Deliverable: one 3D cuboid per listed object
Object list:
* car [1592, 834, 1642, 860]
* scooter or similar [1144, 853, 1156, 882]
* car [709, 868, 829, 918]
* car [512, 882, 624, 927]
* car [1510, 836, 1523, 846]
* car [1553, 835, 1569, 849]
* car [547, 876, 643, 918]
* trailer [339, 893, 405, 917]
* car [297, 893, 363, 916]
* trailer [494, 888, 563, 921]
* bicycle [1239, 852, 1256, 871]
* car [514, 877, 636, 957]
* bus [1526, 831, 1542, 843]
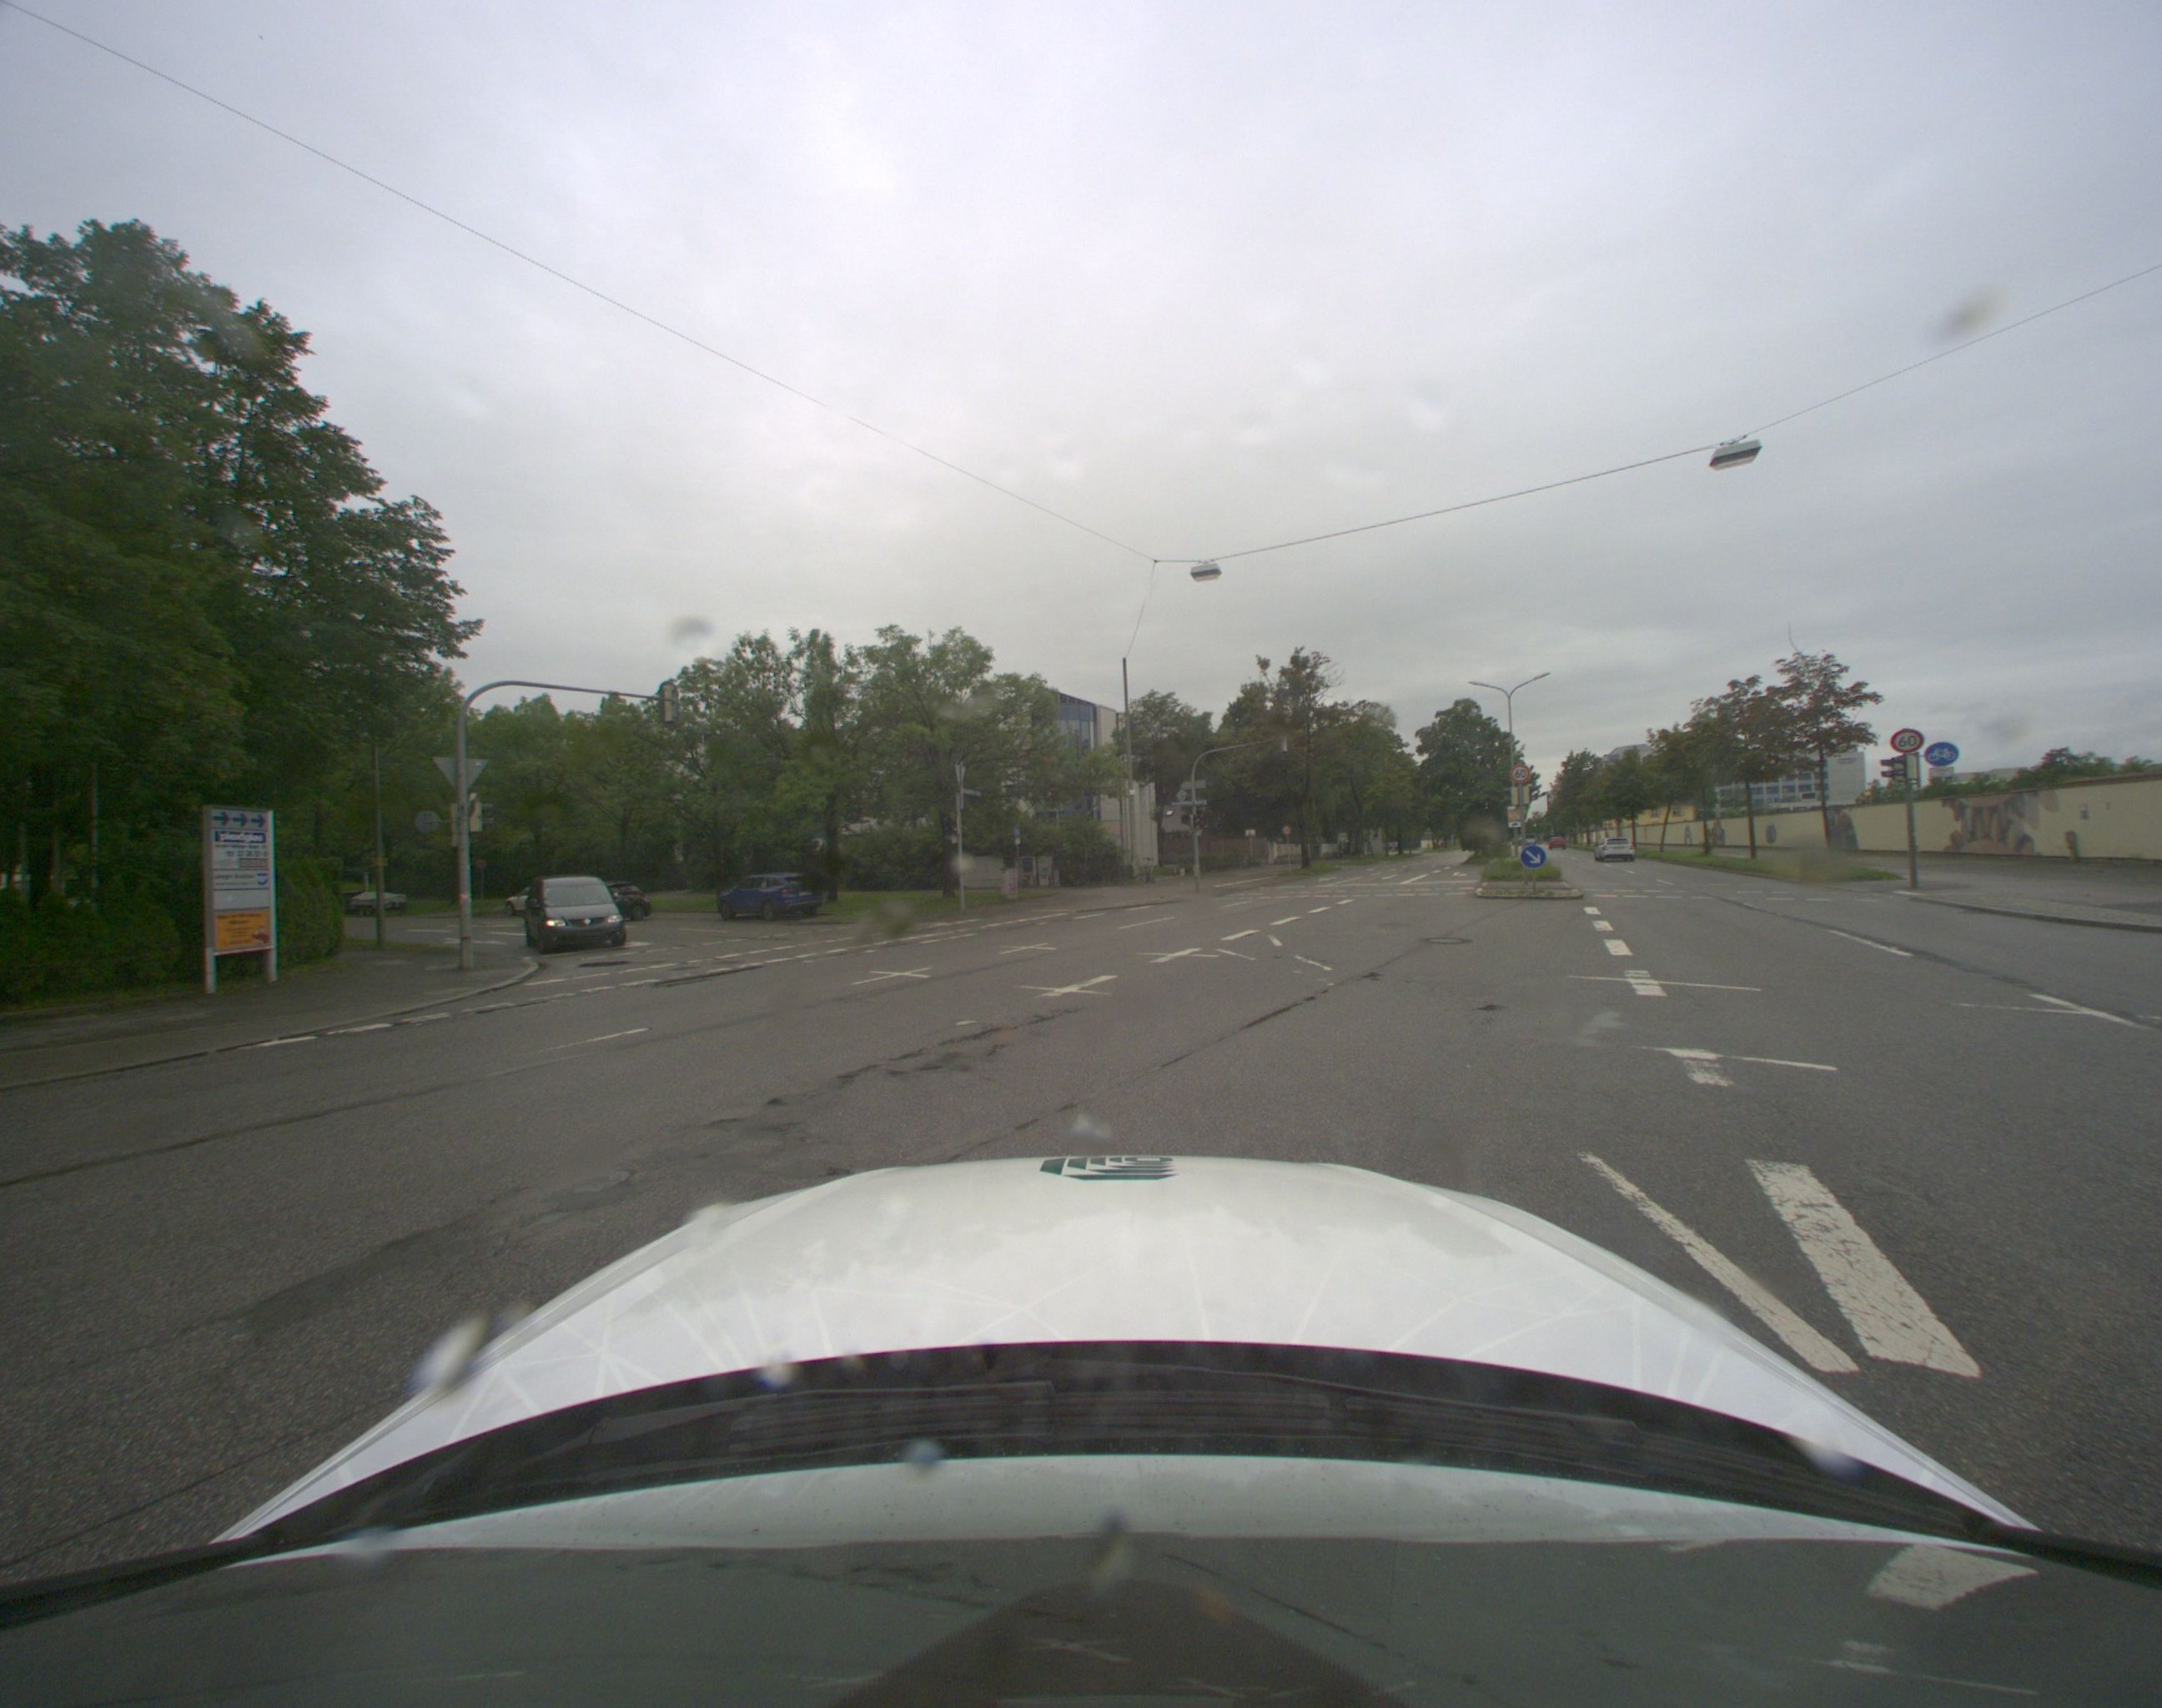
[{"bbox_3d":[32.473,-0.426,49.437,1.861,1.467,4.528,-1,0,25],"label":"car"},{"bbox_3d":[3.504,0.682,41.101,0.367,1.424,1.410,-1,0,13],"label":"scooter or similar"},{"bbox_3d":[-11.365,1.428,29.561,4.227,1.574,2.013,-3,1,37],"label":"car"},{"bbox_3d":[-19.010,1.848,30.224,3.298,1.444,1.645,-2,-2,-41],"label":"car"},{"bbox_3d":[85.103,-2.517,159.299,2.065,1.866,4.412,-1,0,27],"label":"car"},{"bbox_3d":[61.807,-1.558,104.831,1.470,1.715,3.572,-1,0,27],"label":"car"},{"bbox_3d":[-21.532,1.926,36.085,4.111,1.574,1.774,-4,1,30],"label":"car"},{"bbox_3d":[-40.442,2.878,46.455,3.381,1.262,1.567,-1,0,24],"label":"trailer"},{"bbox_3d":[-44.444,2.966,48.172,3.382,1.262,1.566,-1,0,23],"label":"car"},{"bbox_3d":[-26.241,2.376,38.654,3.299,1.414,1.461,-1,0,31],"label":"trailer"},{"bbox_3d":[11.989,0.509,58.614,0.576,1.295,2.469,-1,0,25],"label":"bicycle"},{"bbox_3d":[-13.049,1.534,20.848,2.010,1.723,4.734,-2,-2,-39],"label":"car"},{"bbox_3d":[119.375,-4.408,214.618,3.191,3.126,10.407,-1,0,27],"label":"bus"}]
